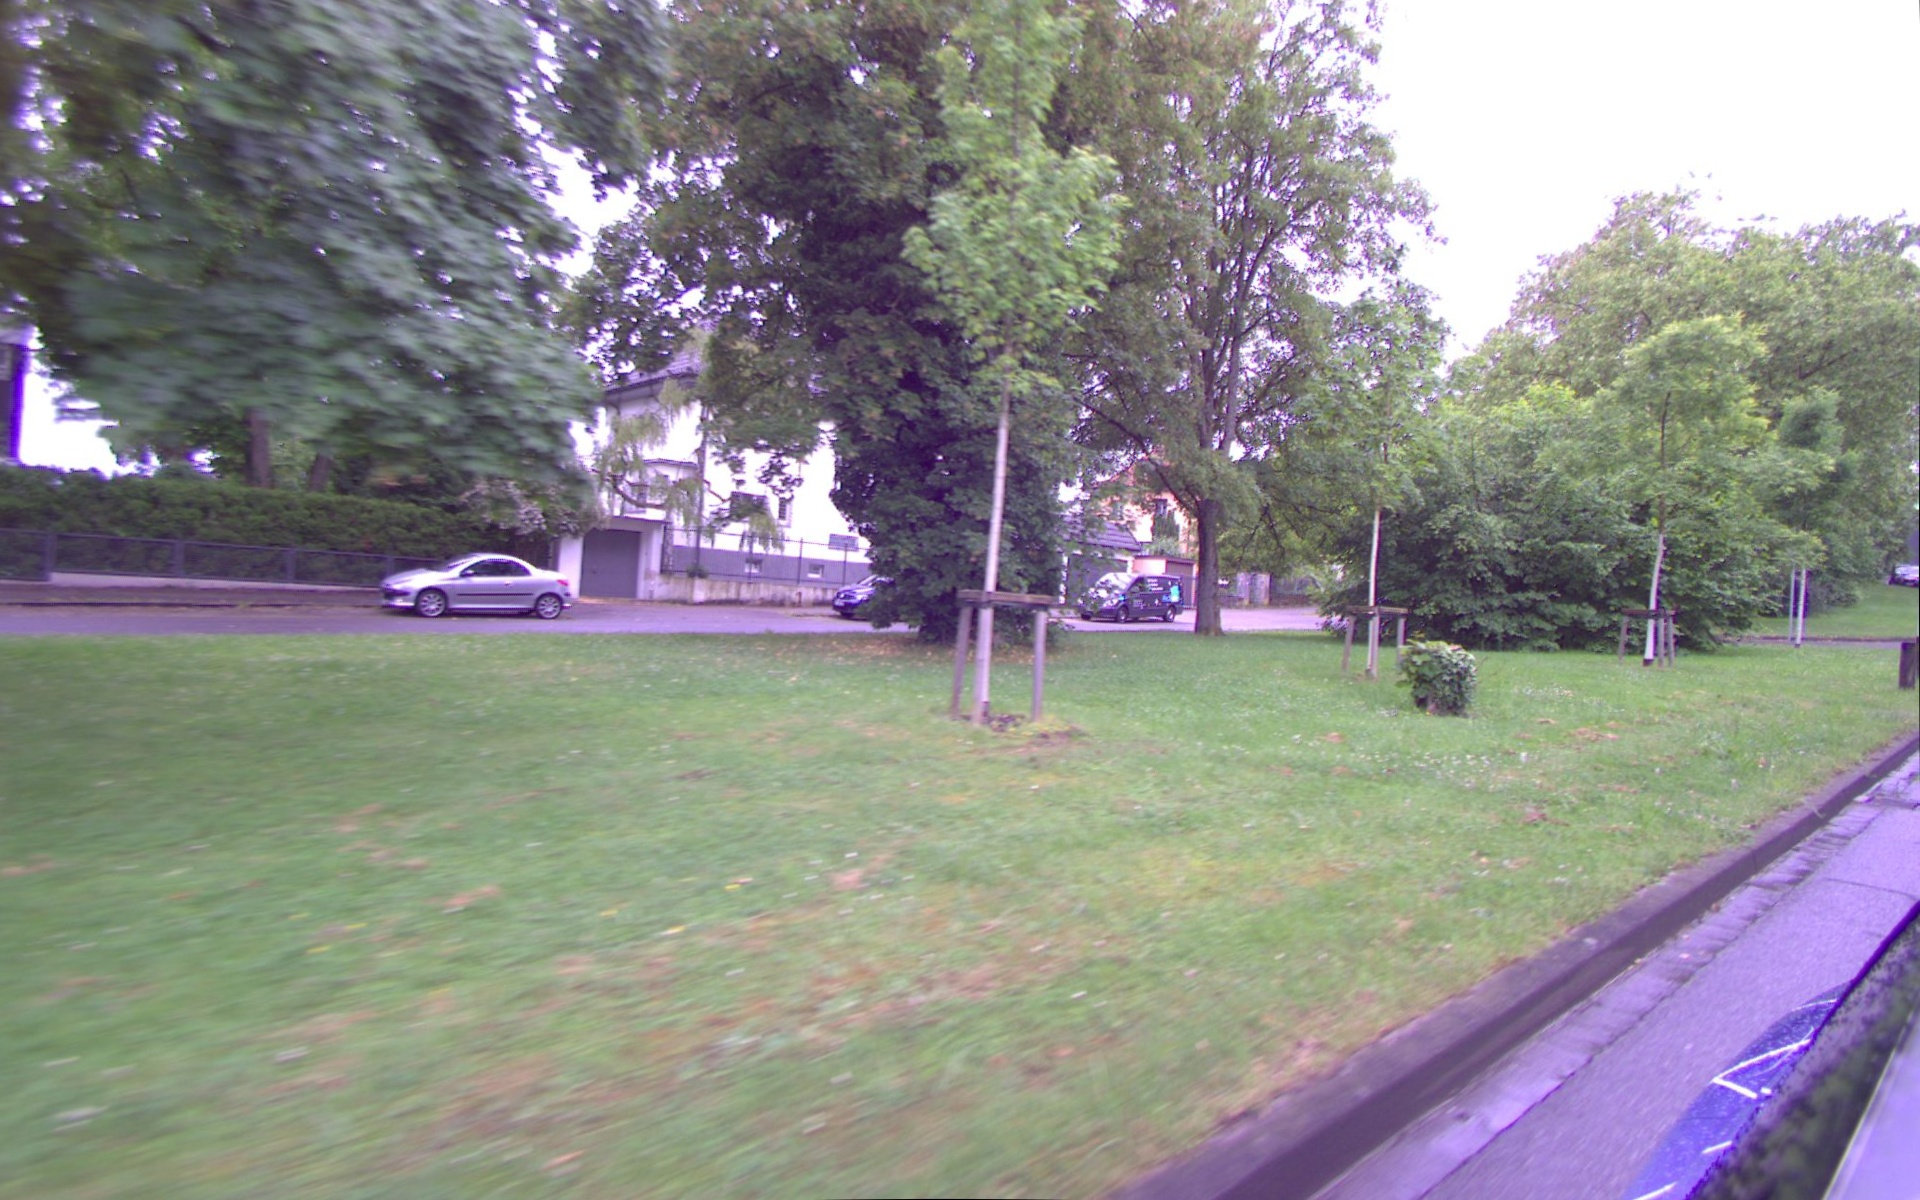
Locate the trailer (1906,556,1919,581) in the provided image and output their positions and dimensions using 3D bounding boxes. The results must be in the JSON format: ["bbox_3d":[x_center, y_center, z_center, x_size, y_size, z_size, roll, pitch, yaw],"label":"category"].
[{"bbox_3d":[81.383,-2.661,85.708,1.696,2.078,3.893,3,4,42],"label":"trailer"}]

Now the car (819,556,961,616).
[{"bbox_3d":[-2.069,-0.434,30.623,3.968,1.644,1.904,0,3,-44],"label":"car"}]

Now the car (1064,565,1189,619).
[{"bbox_3d":[6.478,-0.312,39.046,4.986,1.901,2.162,0,3,-44],"label":"car"}]

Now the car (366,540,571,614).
[{"bbox_3d":[-10.597,-0.476,21.956,3.647,1.392,1.684,1,4,-44],"label":"car"}]

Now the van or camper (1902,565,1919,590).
[{"bbox_3d":[78.062,-1.854,82.261,1.993,1.891,5.580,4,4,42],"label":"van or camper"}]
